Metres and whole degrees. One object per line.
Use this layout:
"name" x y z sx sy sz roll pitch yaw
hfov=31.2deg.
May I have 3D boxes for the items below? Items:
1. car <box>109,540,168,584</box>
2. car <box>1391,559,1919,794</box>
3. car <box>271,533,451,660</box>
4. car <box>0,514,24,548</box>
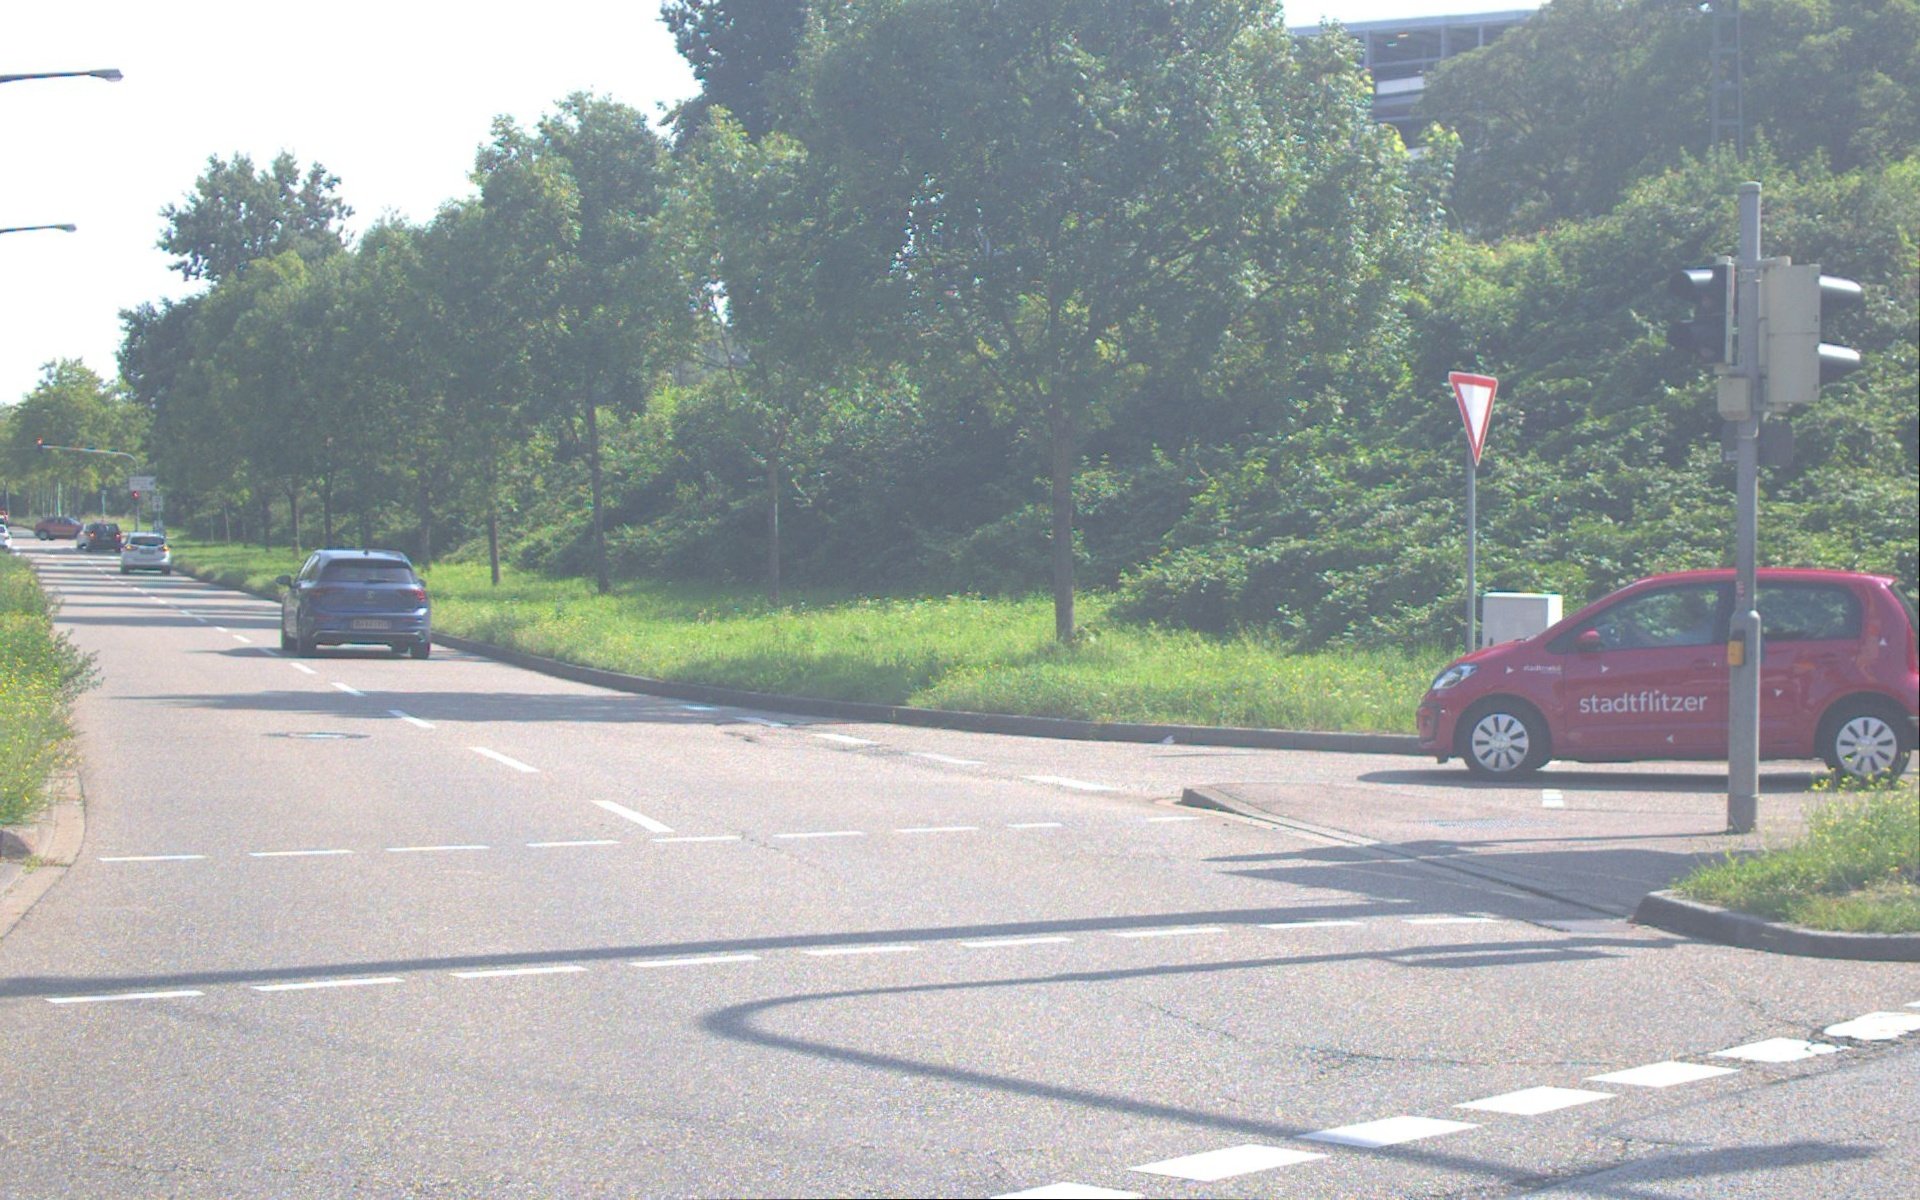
"car" -31.649 -1.468 132.387 1.993 1.648 4.001 -1 1 -16
"car" 4.857 0.494 23.909 3.544 1.462 1.643 1 2 12
"car" -8.185 -0.078 46.727 1.780 1.423 4.002 1 3 -19
"car" -47.620 -3.413 170.418 1.993 1.696 4.001 -1 1 -10
